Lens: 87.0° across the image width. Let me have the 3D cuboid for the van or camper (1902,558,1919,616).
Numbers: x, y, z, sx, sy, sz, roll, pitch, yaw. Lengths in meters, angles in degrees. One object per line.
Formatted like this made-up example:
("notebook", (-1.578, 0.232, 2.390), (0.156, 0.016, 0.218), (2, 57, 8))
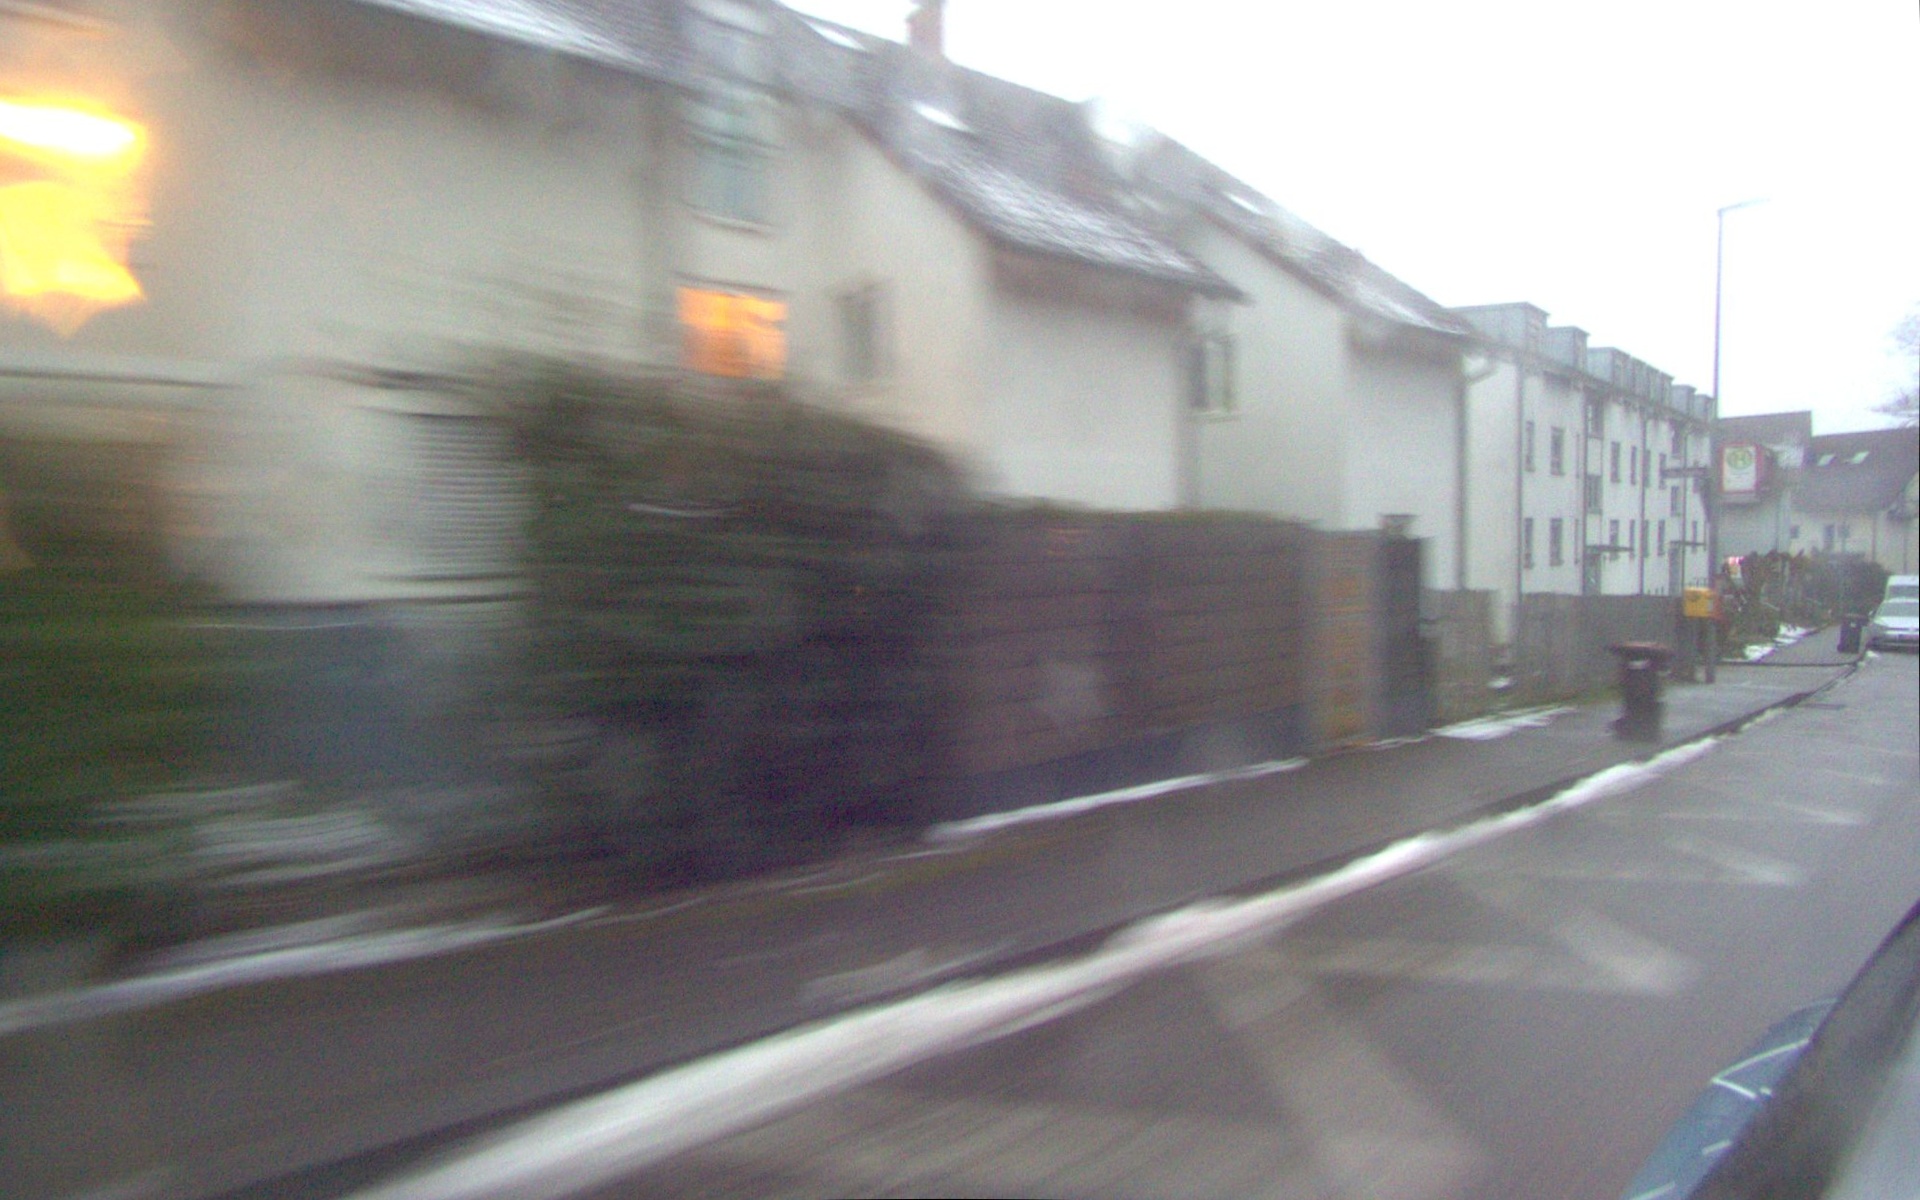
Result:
("van or camper", (44.256, -0.569, 45.958), (2.013, 2.539, 6.689), (2, 1, 42))

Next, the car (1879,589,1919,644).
("car", (26.924, 0.416, 28.309), (1.737, 1.447, 4.388), (-1, 0, 43))
